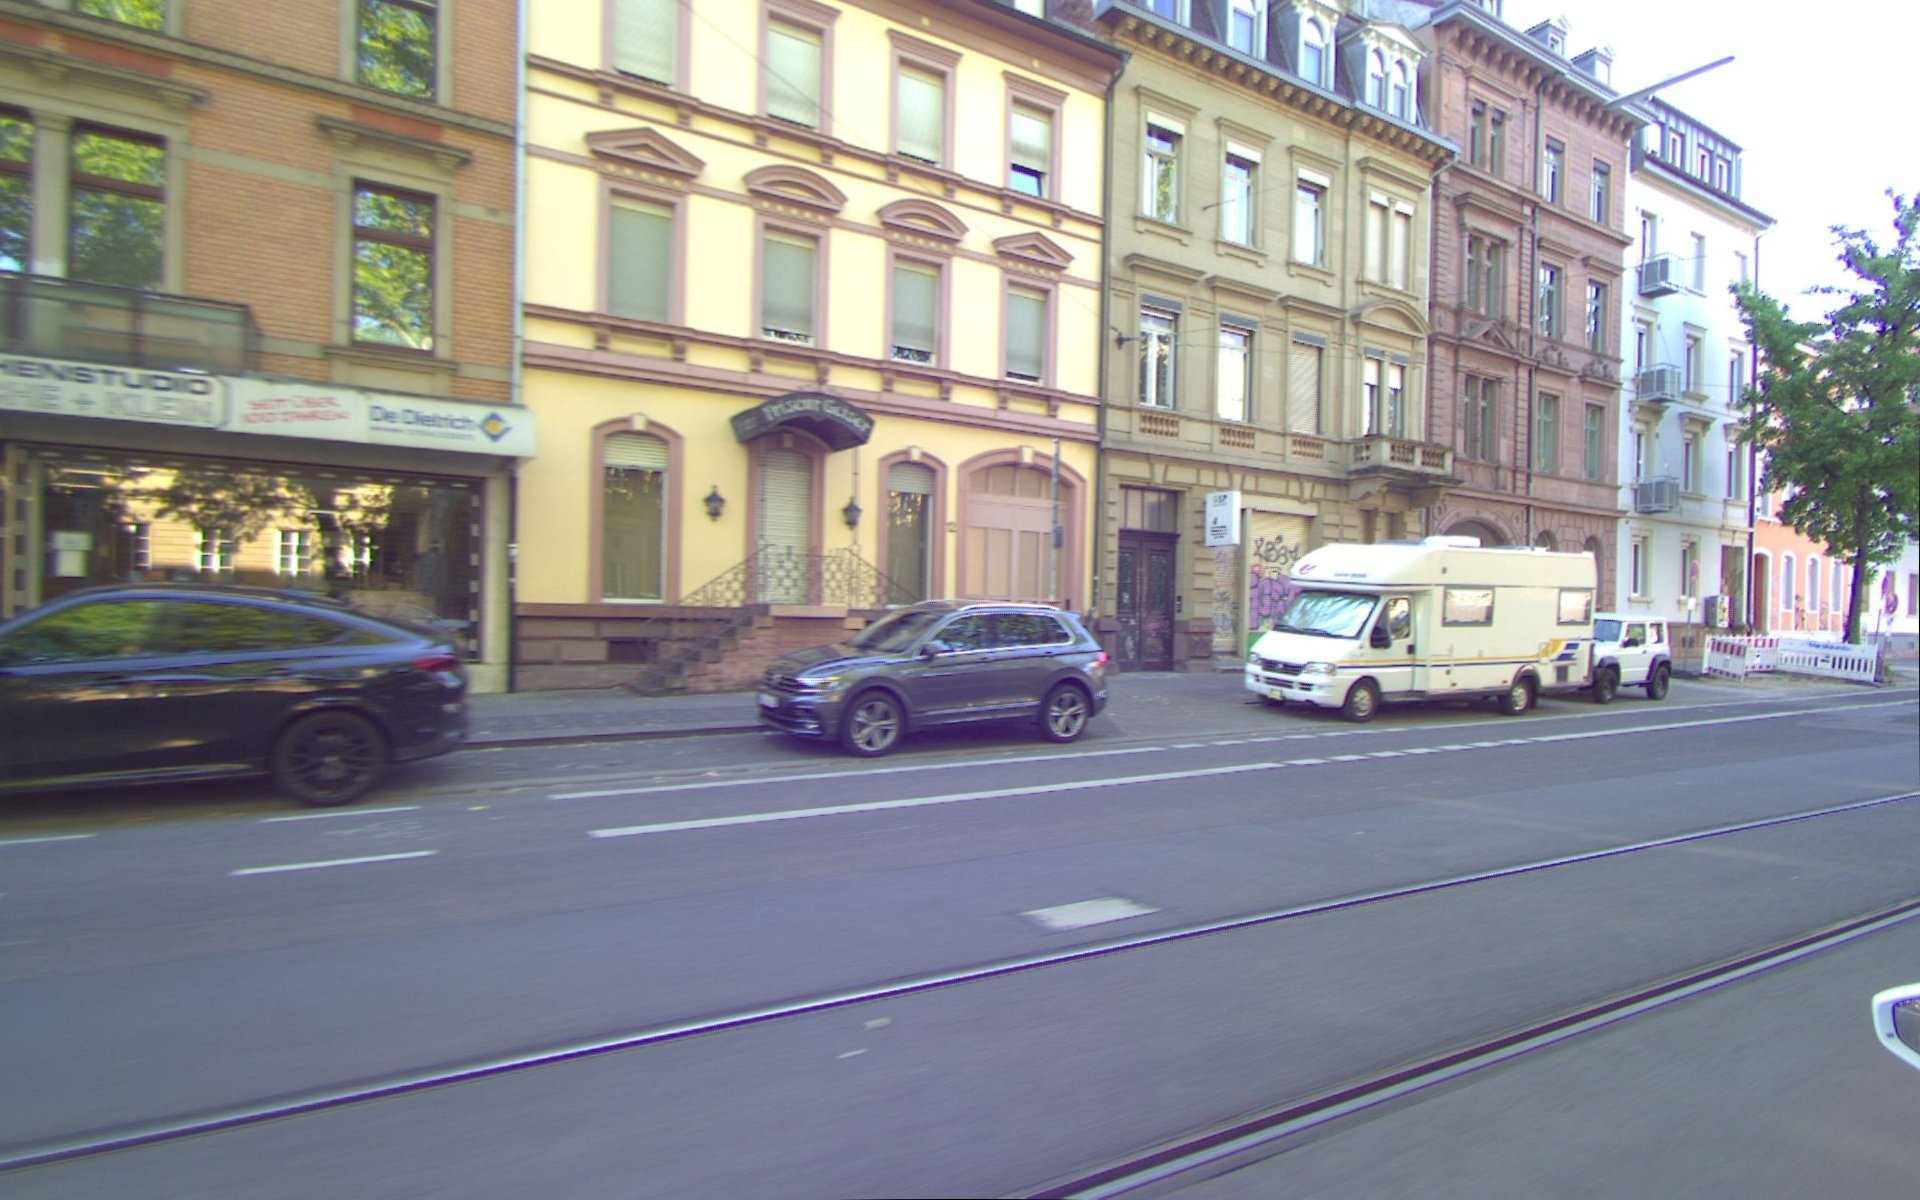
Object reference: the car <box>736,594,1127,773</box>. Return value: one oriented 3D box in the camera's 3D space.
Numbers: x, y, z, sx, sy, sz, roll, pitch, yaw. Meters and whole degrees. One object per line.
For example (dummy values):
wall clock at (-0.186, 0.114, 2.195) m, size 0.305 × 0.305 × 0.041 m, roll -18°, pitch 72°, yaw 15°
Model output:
car at (-0.273, 0.884, 12.157) m, size 4.394 × 1.728 × 1.800 m, roll 1°, pitch 3°, yaw -32°

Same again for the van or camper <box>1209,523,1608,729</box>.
van or camper at (7.880, 0.379, 17.356) m, size 7.164 × 2.987 × 2.408 m, roll 1°, pitch 3°, yaw -30°

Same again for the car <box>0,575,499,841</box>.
car at (-6.399, 0.739, 8.056) m, size 4.697 × 1.726 × 1.982 m, roll 1°, pitch 3°, yaw -32°

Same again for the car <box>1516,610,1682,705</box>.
car at (13.210, 1.131, 20.744) m, size 3.336 × 1.729 × 1.620 m, roll 1°, pitch 2°, yaw -34°
